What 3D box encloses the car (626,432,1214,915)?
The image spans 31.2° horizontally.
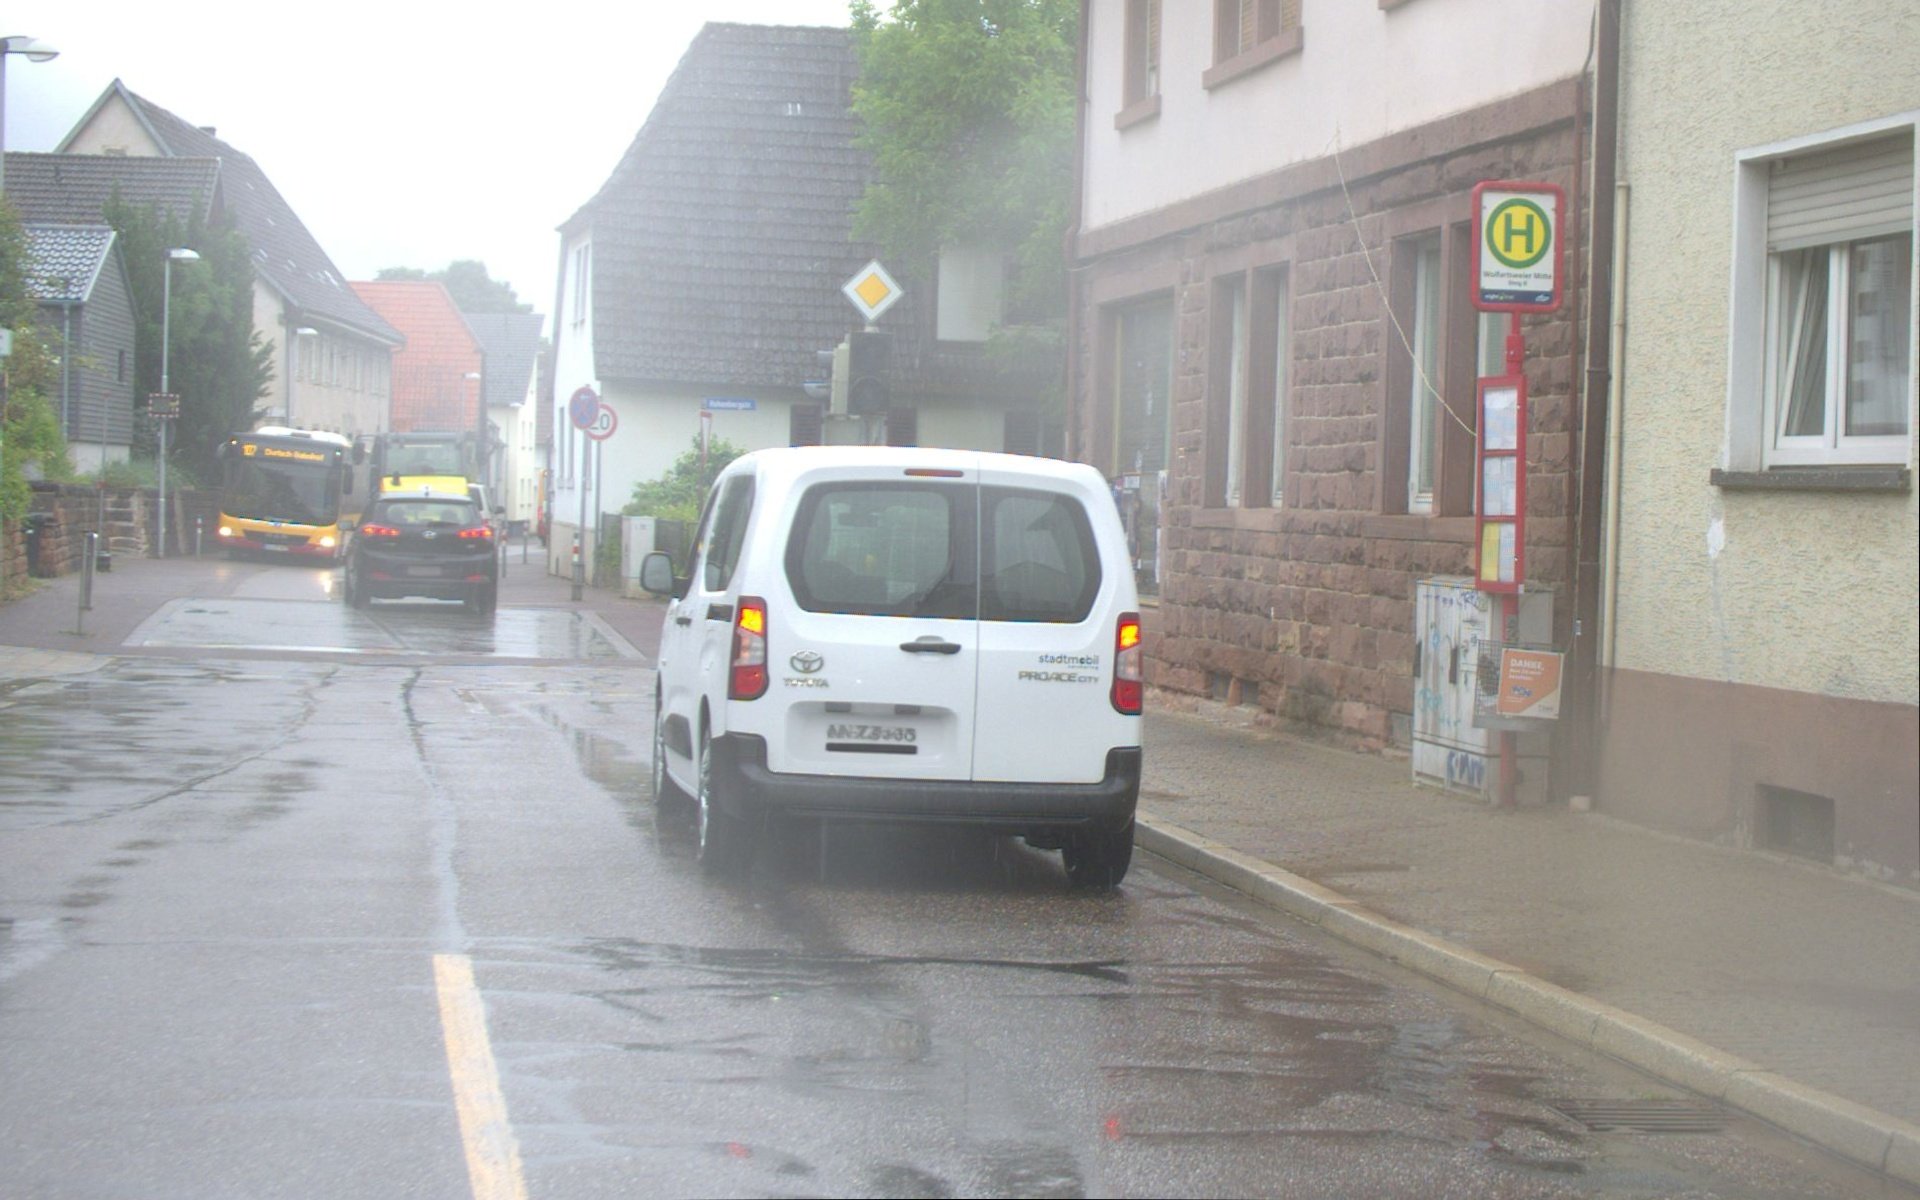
[{"bbox_3d":[-0.324,0.234,15.241,1.894,1.787,3.815,3,1,-10],"label":"car"}]

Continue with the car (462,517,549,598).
[{"bbox_3d":[-11.187,-1.055,84.802,1.895,1.941,4.001,0,1,-4],"label":"car"}]

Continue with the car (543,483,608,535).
[{"bbox_3d":[-15.287,-3.614,136.918,1.993,2.007,4.000,0,1,2],"label":"car"}]

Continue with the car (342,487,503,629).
[{"bbox_3d":[-6.715,-0.558,42.718,1.809,1.591,3.757,3,1,-10],"label":"car"}]

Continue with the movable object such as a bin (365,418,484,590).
[{"bbox_3d":[-8.808,-1.585,56.578,1.726,2.644,3.975,3,1,-9],"label":"movable object such as a bin"}]

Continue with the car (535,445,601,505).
[{"bbox_3d":[-12.259,-3.894,107.634,1.851,1.787,4.001,0,1,-3],"label":"car"}]

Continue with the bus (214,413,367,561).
[{"bbox_3d":[-15.252,-2.732,79.026,2.649,2.989,12.197,2,3,-8],"label":"bus"}]
